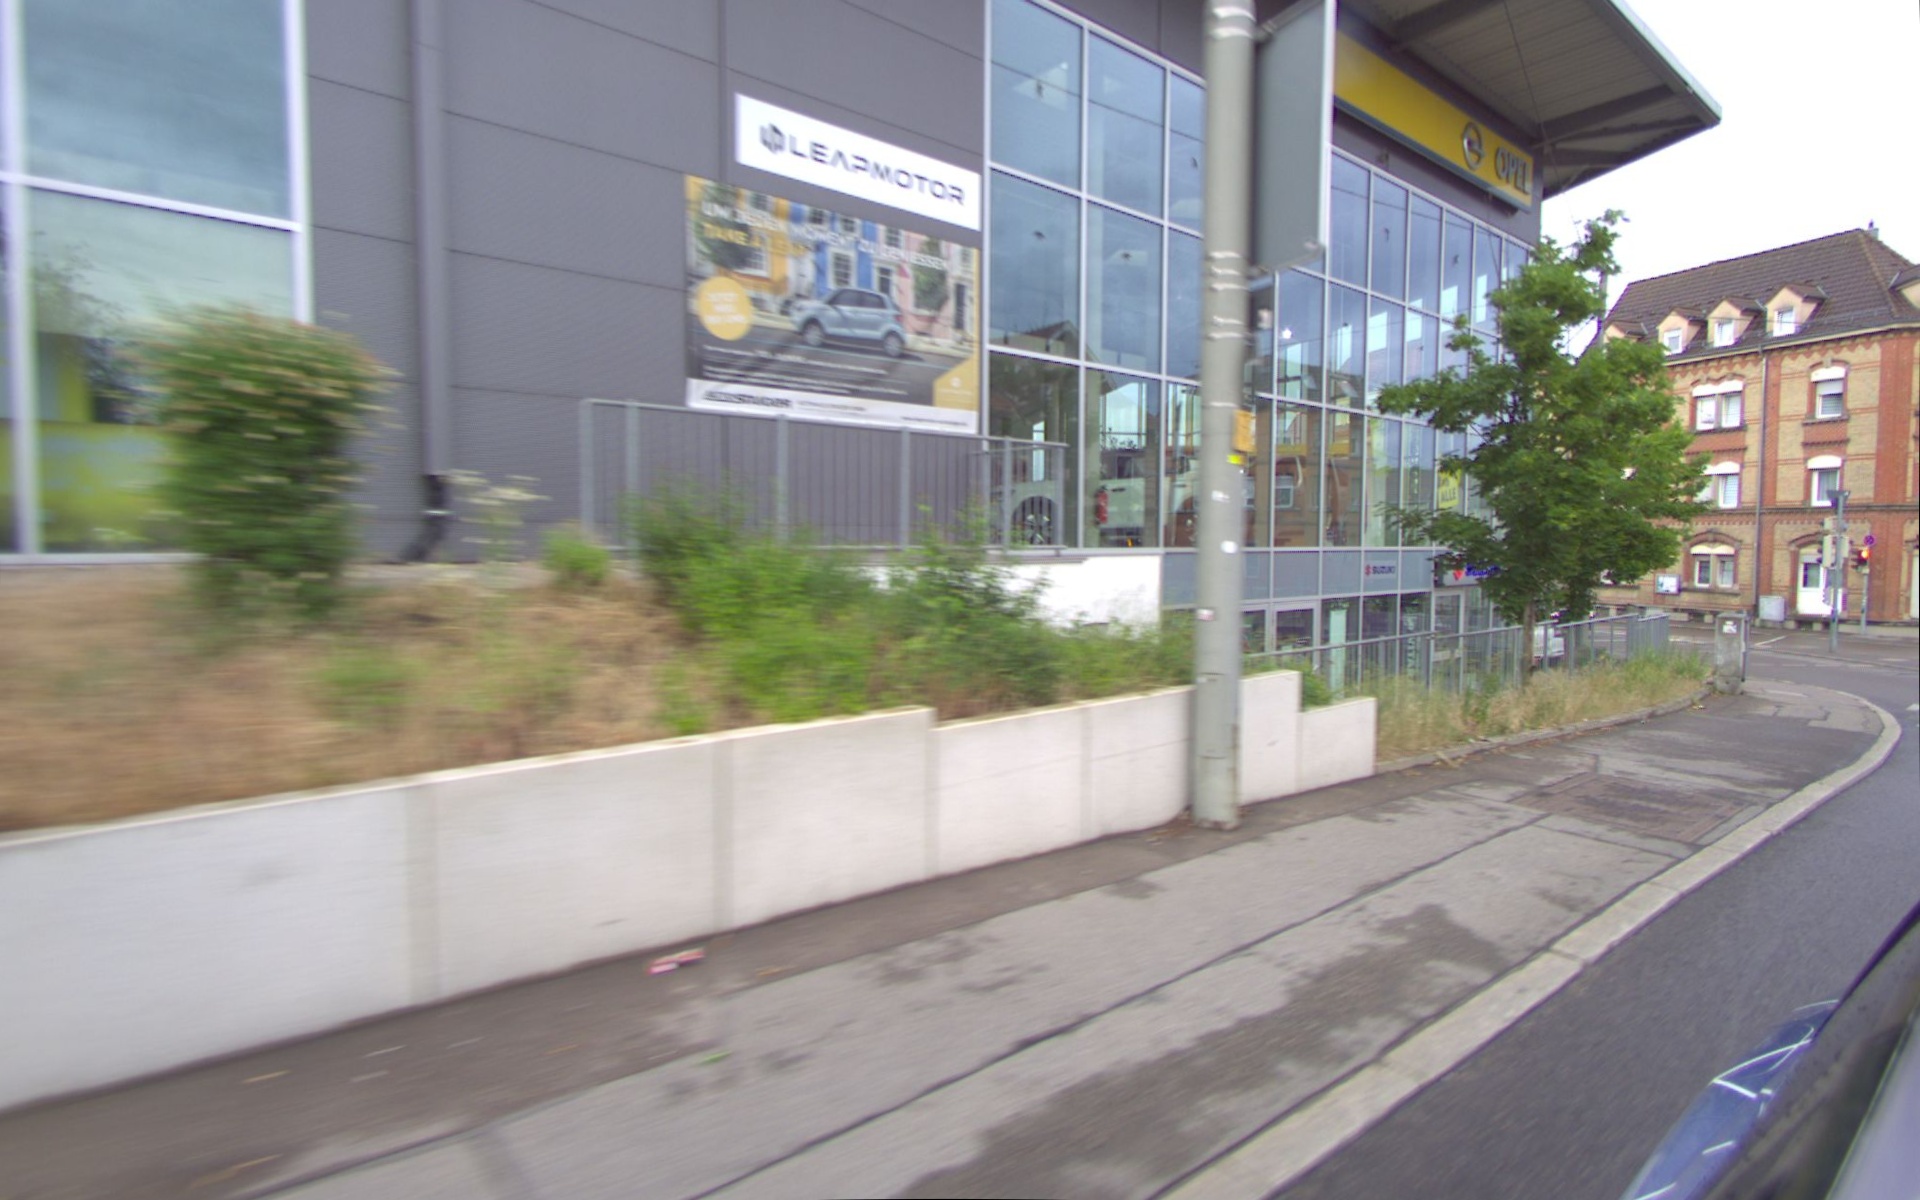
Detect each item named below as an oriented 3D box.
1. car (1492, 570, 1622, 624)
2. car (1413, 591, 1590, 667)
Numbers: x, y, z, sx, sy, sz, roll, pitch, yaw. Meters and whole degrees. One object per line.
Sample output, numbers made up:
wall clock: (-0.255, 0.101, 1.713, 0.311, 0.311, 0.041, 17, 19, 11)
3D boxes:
car: (21.258, -0.163, 36.260, 1.768, 1.683, 4.262, 1, 3, -6)
car: (13.850, 0.668, 26.167, 1.859, 1.526, 4.010, -3, 4, -13)
